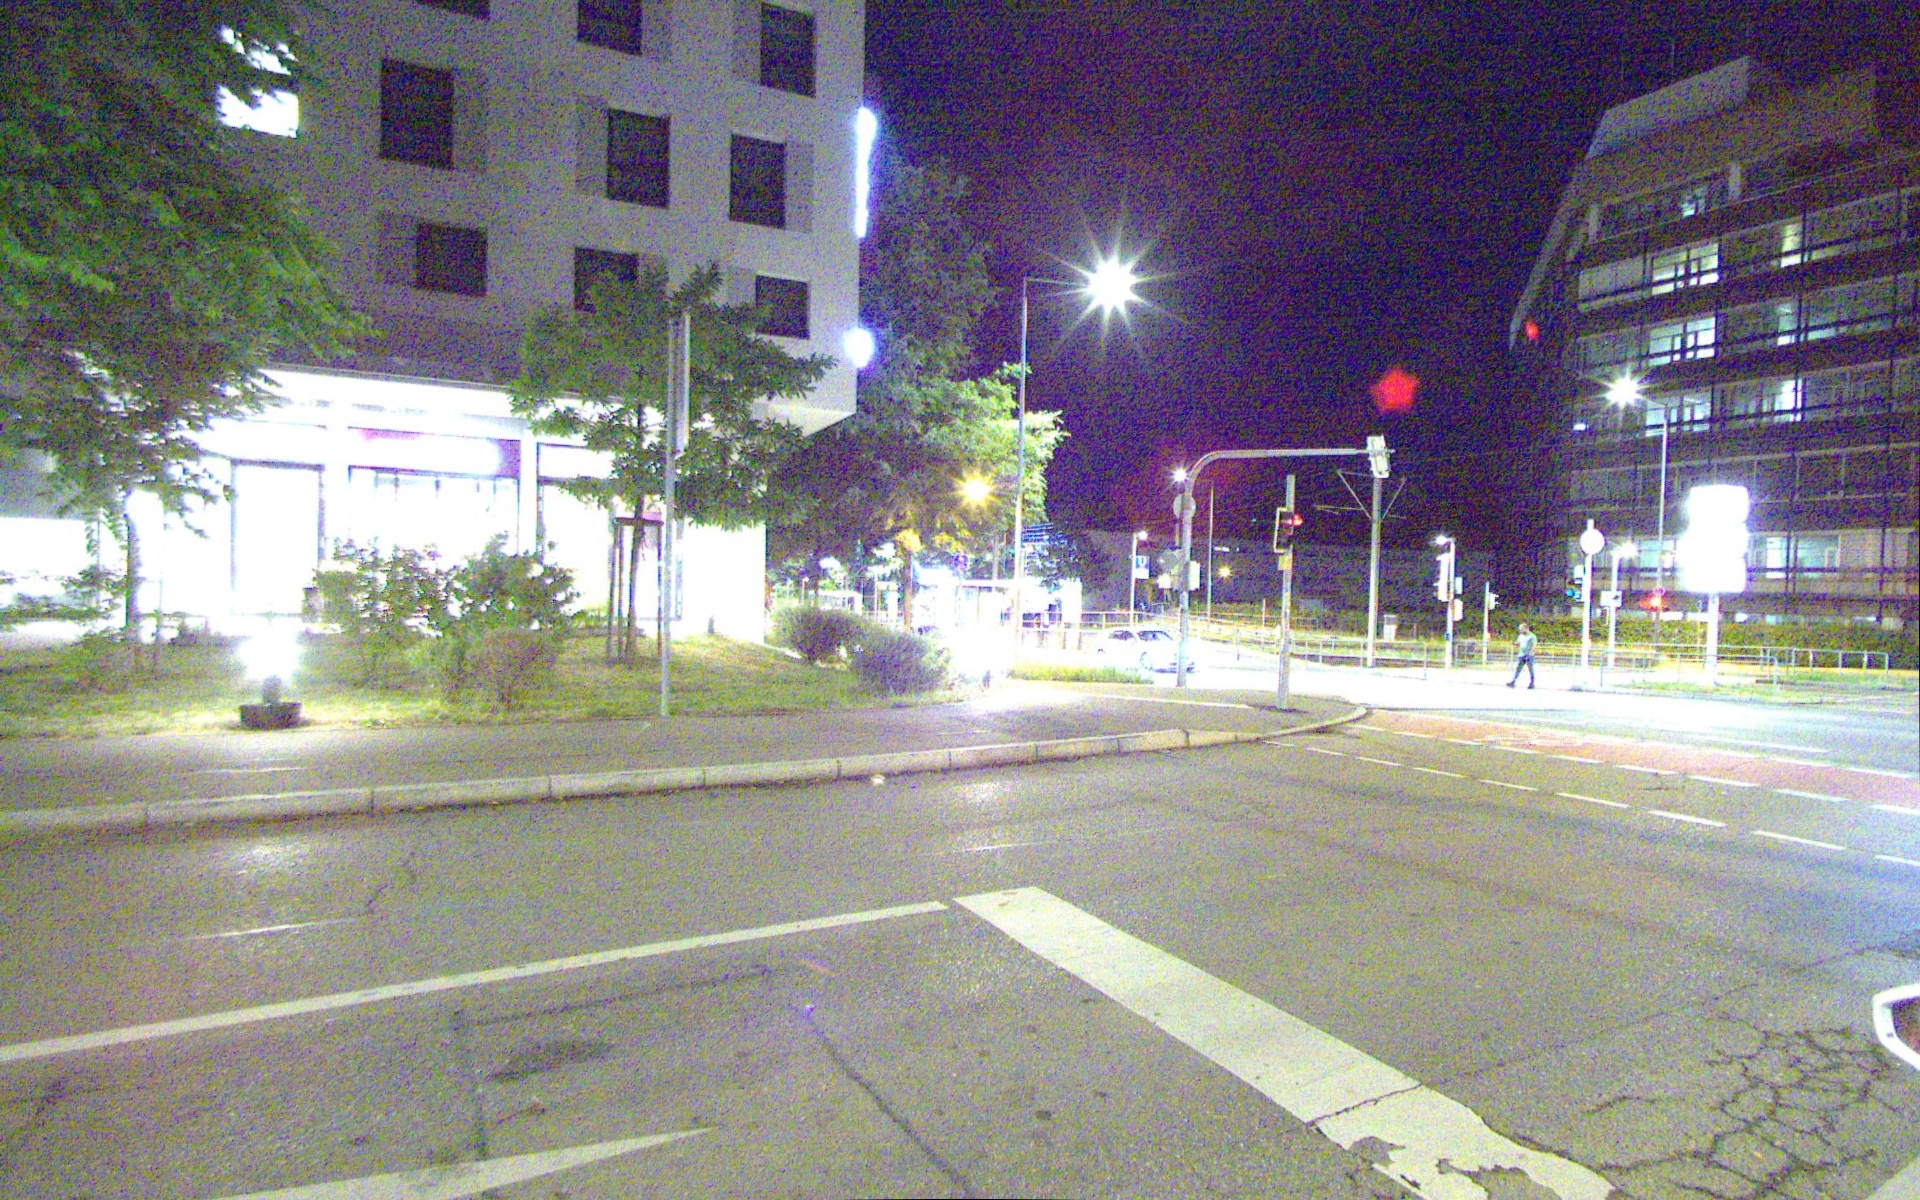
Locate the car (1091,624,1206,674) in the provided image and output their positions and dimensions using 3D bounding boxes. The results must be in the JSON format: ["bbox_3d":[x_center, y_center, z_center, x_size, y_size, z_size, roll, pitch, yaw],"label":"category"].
[{"bbox_3d":[6.259,1.596,33.821,1.793,1.522,4.177,0,-1,-23],"label":"car"}]

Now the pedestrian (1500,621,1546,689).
[{"bbox_3d":[14.172,1.385,25.294,0.854,1.656,0.665,2,0,-34],"label":"pedestrian"}]

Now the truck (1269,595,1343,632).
[{"bbox_3d":[30.778,1.172,89.552,2.877,3.129,5.873,2,0,-28],"label":"truck"}]
